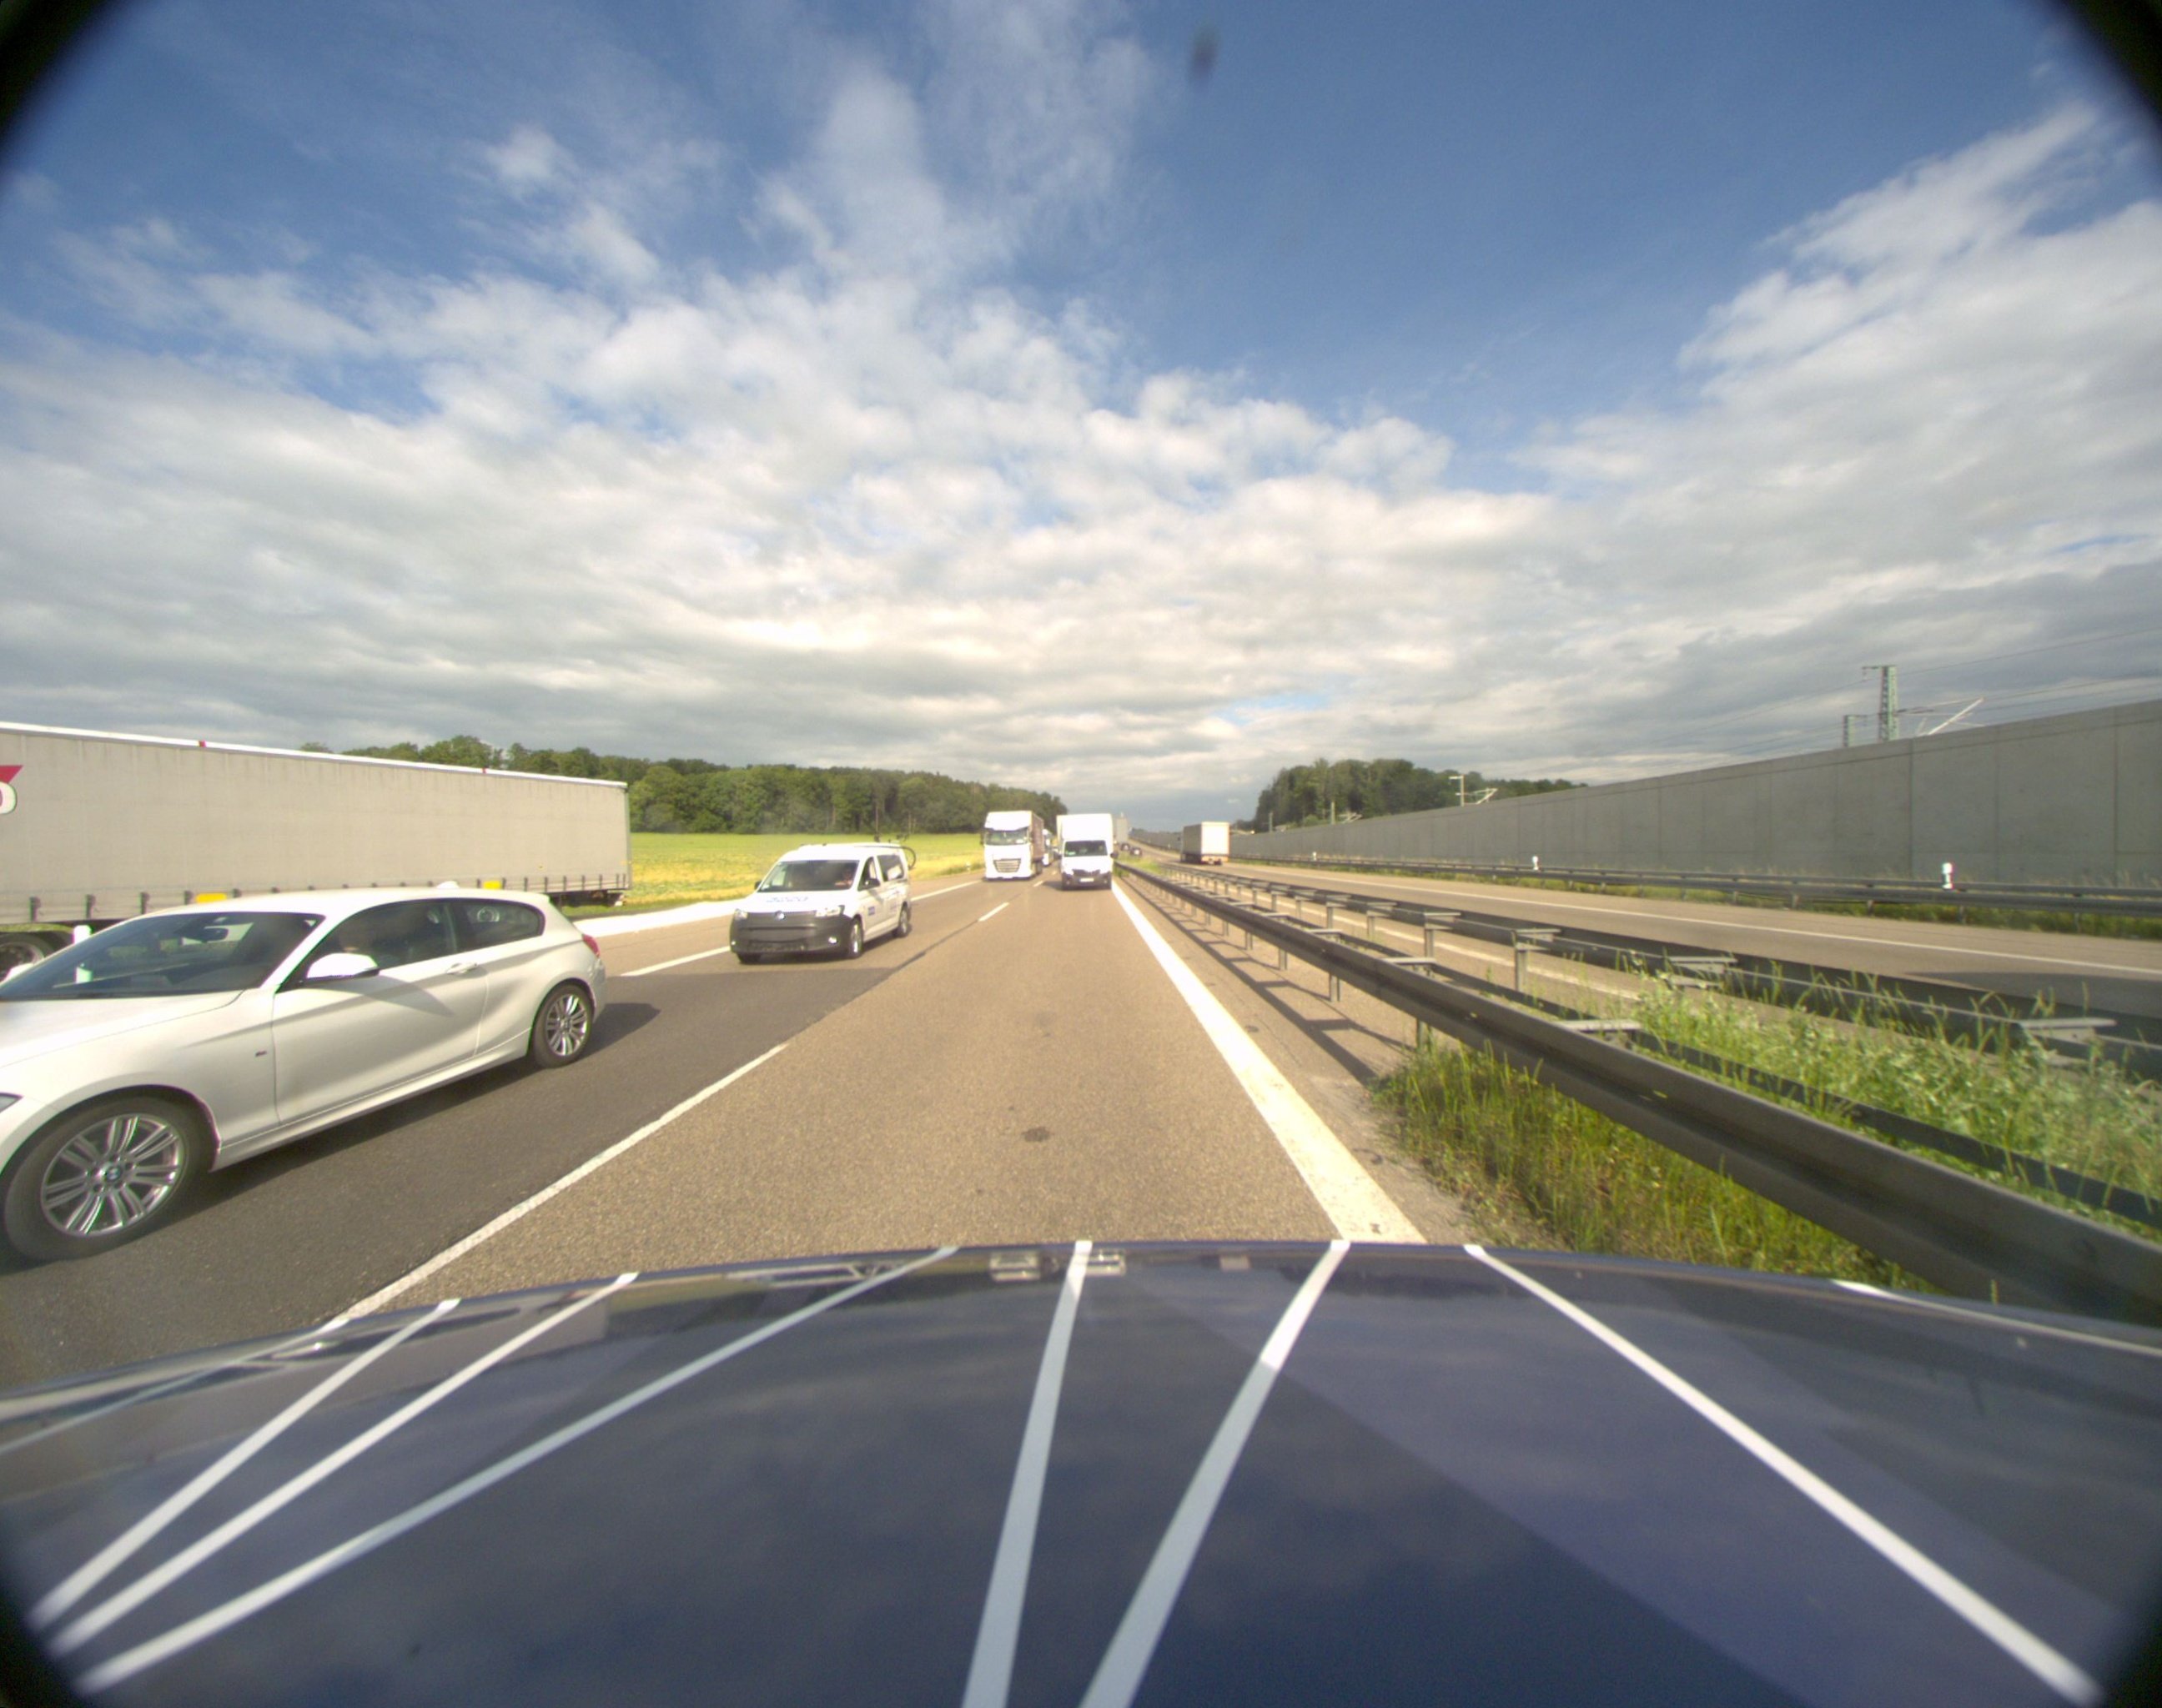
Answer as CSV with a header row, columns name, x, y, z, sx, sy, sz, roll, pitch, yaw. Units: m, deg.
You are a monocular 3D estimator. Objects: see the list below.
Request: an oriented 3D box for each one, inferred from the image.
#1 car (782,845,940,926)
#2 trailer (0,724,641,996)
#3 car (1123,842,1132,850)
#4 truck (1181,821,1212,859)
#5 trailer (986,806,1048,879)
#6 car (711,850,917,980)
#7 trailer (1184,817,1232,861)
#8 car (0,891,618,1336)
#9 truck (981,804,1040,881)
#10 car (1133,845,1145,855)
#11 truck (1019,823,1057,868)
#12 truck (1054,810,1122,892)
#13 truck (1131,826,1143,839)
name,x,y,z,sx,sy,sz,roll,pitch,yaw
car,-5.907,0.755,21.251,1.798,1.914,5.271,-2,0,13
trailer,-16.476,0.077,16.498,2.739,4.136,13.843,-2,0,16
car,9.829,-1.756,160.308,1.720,1.586,4.449,-1,0,1
truck,12.906,-1.521,85.311,2.692,4.045,5.878,-1,1,1
trailer,-3.980,-0.792,50.765,2.742,4.137,14.016,-2,1,0
car,-4.265,0.847,13.040,1.729,1.746,4.702,-3,0,1
trailer,12.853,-1.448,78.115,2.690,4.014,13.790,-1,0,0
car,-4.807,1.066,4.285,1.708,1.424,4.232,-2,0,1
truck,-4.005,-0.681,44.571,2.736,4.150,5.766,-2,1,0
car,9.086,-0.616,119.408,1.637,1.393,3.896,-1,0,0
truck,-4.180,-0.854,76.519,2.946,4.094,12.523,-1,0,0
truck,0.300,-0.168,35.383,2.500,3.082,12.037,-2,0,0
truck,19.248,-7.301,261.290,2.952,4.037,11.745,-2,1,0
